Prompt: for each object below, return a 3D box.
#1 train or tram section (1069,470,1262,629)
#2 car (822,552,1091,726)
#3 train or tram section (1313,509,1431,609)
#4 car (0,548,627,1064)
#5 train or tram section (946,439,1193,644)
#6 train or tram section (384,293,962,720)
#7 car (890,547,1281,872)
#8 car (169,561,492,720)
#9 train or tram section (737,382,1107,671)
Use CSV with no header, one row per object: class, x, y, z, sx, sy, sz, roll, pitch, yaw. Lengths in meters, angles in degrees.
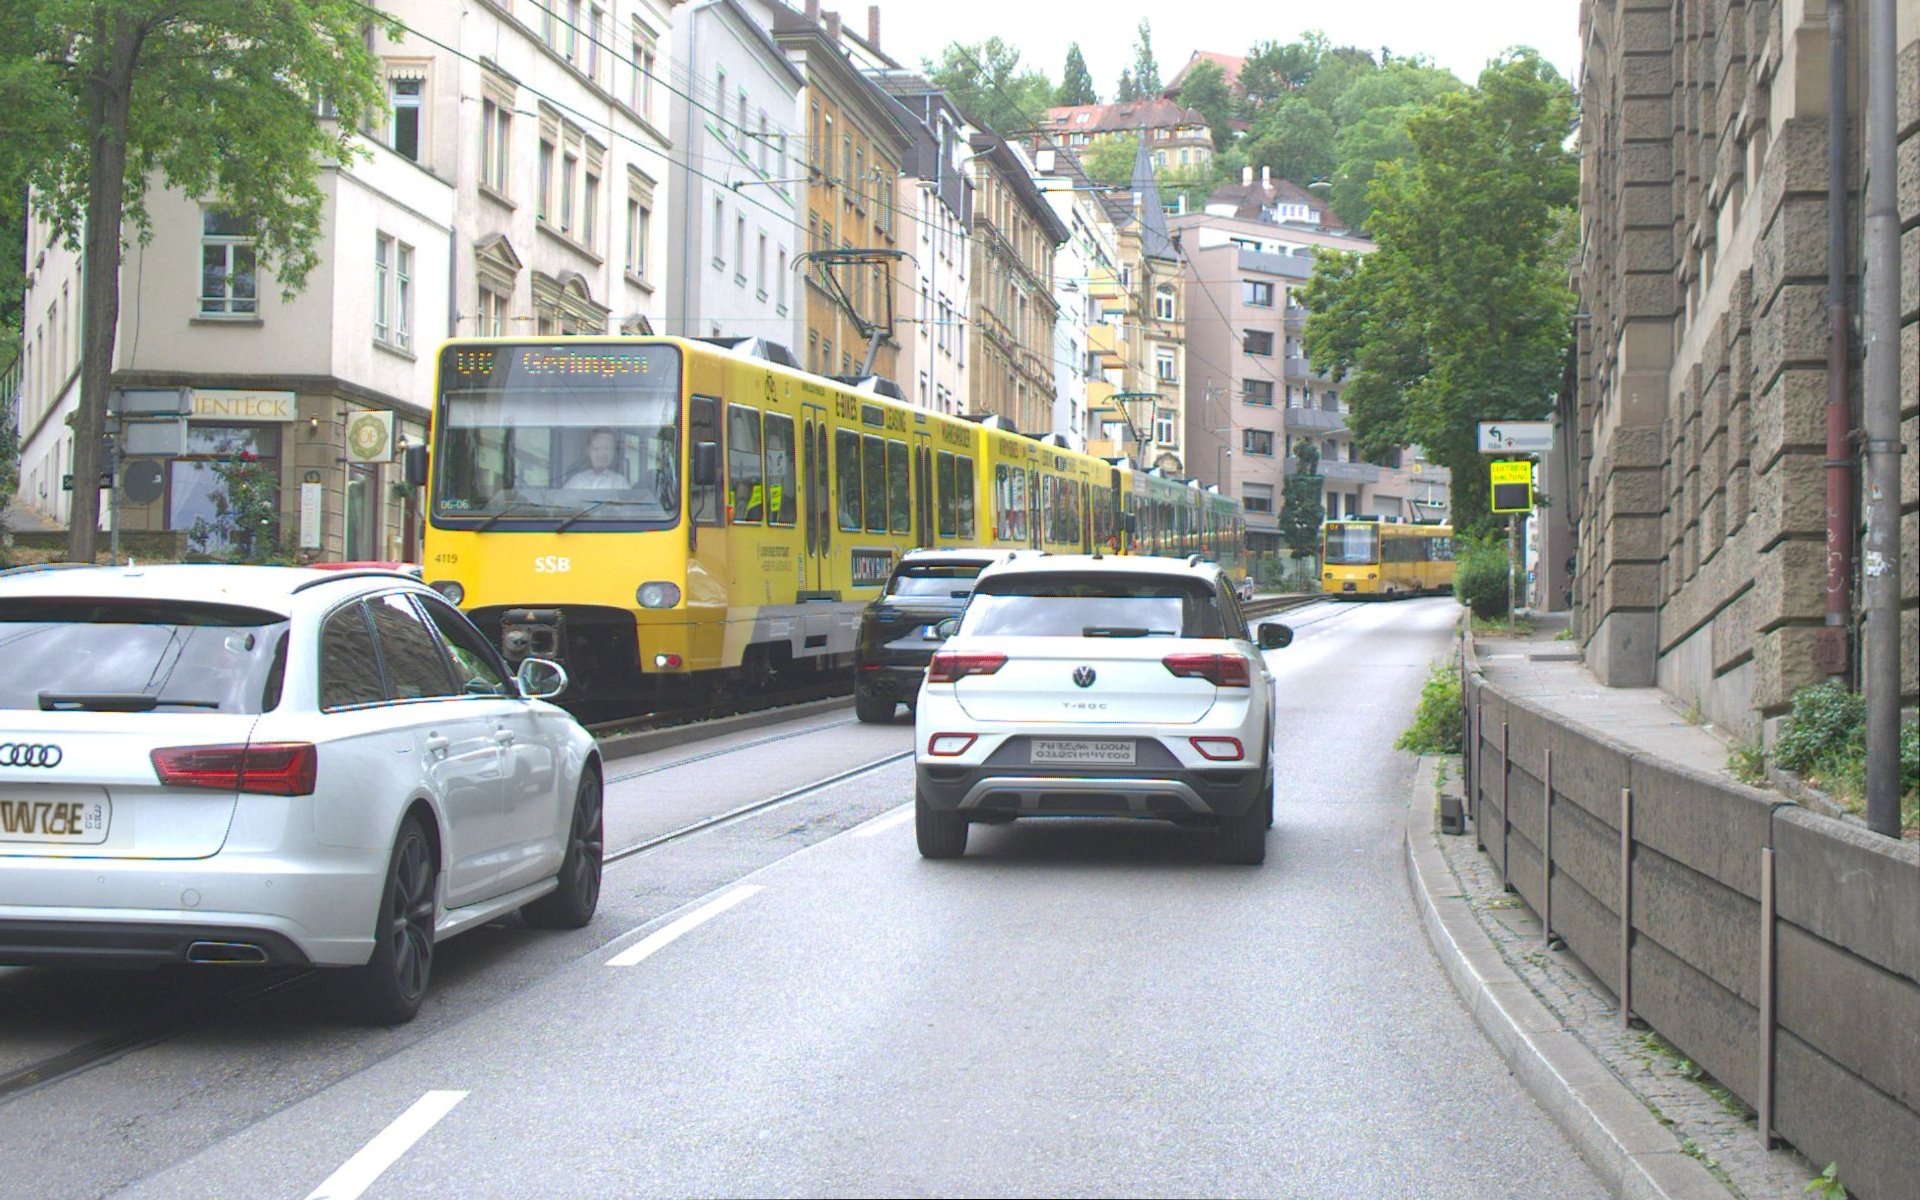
train or tram section,5.721,-1.263,91.446,2.877,3.713,18.748,2,1,10
car,0.043,0.332,33.279,2.038,1.566,4.357,0,0,8
train or tram section,18.590,-1.771,153.869,3.019,4.199,18.847,1,0,14
car,-2.546,0.557,12.267,1.879,1.450,4.617,1,1,5
train or tram section,2.650,-1.136,72.968,2.877,3.713,18.749,2,1,9
train or tram section,-2.562,-0.882,37.872,2.883,3.713,14.851,2,1,9
car,0.764,0.508,18.544,1.879,1.549,3.999,0,0,5
car,-6.264,0.370,34.693,1.994,1.498,3.998,0,0,9
train or tram section,-0.119,-1.031,54.461,2.877,3.713,18.696,2,1,8
